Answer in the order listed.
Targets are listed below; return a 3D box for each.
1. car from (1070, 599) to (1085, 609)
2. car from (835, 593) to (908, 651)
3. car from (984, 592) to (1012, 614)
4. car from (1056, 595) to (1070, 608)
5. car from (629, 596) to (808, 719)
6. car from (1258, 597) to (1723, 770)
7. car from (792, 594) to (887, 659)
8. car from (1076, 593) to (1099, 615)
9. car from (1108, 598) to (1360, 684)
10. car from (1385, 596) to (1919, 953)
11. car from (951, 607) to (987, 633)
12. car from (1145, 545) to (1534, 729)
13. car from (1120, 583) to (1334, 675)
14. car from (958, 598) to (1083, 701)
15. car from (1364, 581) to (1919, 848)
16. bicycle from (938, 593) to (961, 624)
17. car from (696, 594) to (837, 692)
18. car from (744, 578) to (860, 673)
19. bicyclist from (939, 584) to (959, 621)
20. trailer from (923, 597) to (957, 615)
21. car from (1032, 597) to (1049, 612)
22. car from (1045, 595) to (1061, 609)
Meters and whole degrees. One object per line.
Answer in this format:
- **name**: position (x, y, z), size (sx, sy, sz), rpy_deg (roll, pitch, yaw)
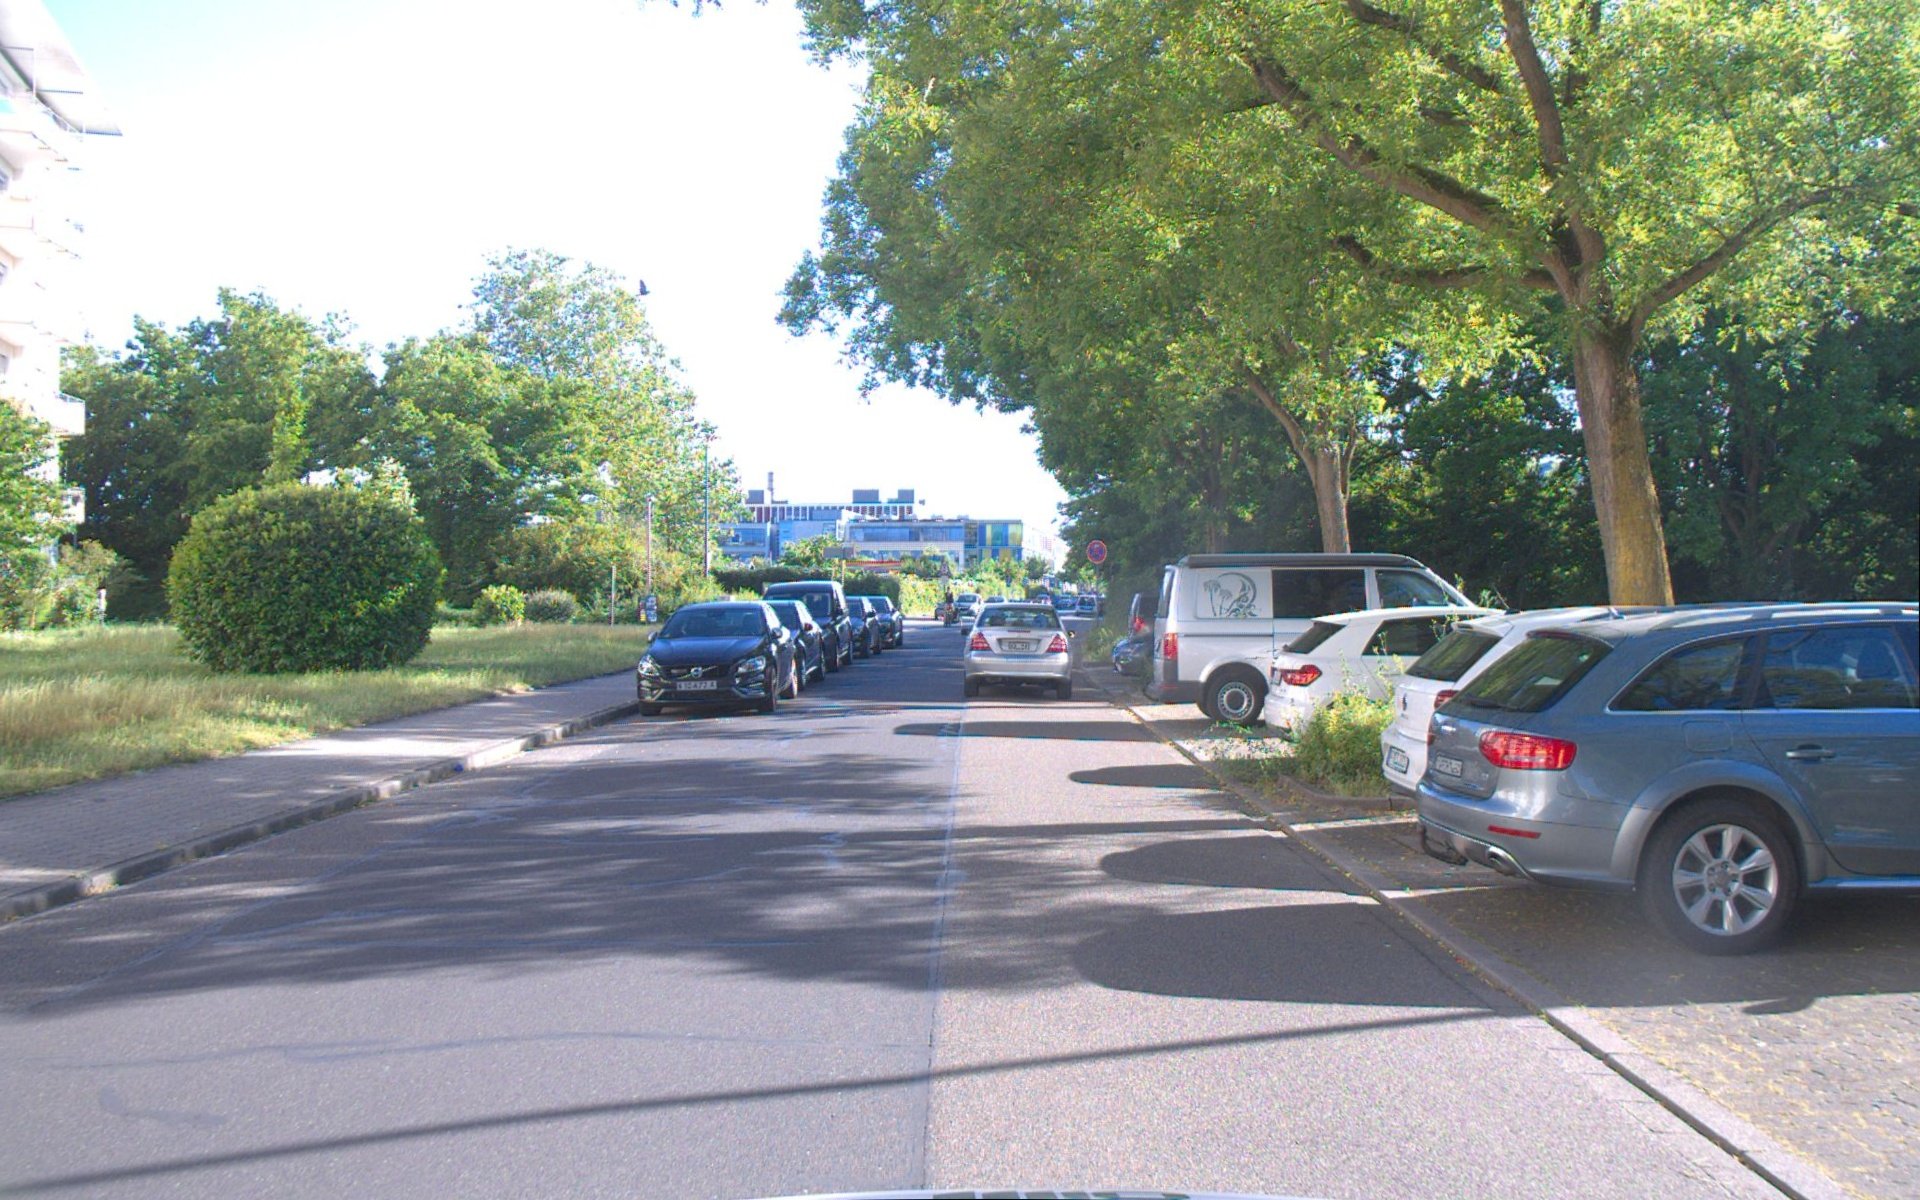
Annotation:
- **car**: position (16.671, 0.572, 235.033), size (1.815, 1.453, 4.137), rpy_deg (1, 0, 7)
- **car**: position (-2.512, 0.601, 47.851), size (1.692, 1.489, 4.683), rpy_deg (-1, 1, 2)
- **car**: position (2.863, 0.241, 123.879), size (1.608, 1.583, 4.421), rpy_deg (-1, 0, 7)
- **car**: position (12.786, 0.203, 205.732), size (1.526, 1.521, 3.761), rpy_deg (-1, 0, 7)
- **car**: position (-3.281, 0.725, 23.350), size (1.802, 1.507, 4.800), rpy_deg (-1, 0, 0)
- **car**: position (4.787, 0.742, 15.362), size (3.825, 1.460, 1.637), rpy_deg (-1, 0, 5)
- **car**: position (-2.975, 0.632, 41.618), size (1.801, 1.479, 4.020), rpy_deg (-2, 0, 4)
- **car**: position (9.545, 0.295, 123.585), size (1.523, 1.565, 3.558), rpy_deg (2, 0, 7)
- **car**: position (4.969, 0.729, 30.447), size (4.359, 1.439, 1.775), rpy_deg (-1, 0, 1)
- **car**: position (4.487, 0.738, 8.028), size (4.388, 1.497, 1.745), rpy_deg (-1, 0, -1)
- **car**: position (0.598, 1.266, 106.479), size (1.608, 1.628, 4.315), rpy_deg (1, 0, 9)
- **car**: position (4.554, 0.433, 20.423), size (4.358, 2.052, 2.022), rpy_deg (-1, 0, 2)
- **car**: position (5.291, 0.559, 33.131), size (4.061, 1.725, 1.776), rpy_deg (-1, 0, 4)
- **car**: position (0.891, 0.730, 26.376), size (1.702, 1.478, 3.999), rpy_deg (1, 0, -2)
- **car**: position (4.724, 0.678, 10.678), size (3.826, 1.460, 1.637), rpy_deg (-2, 0, 2)
- **bicycle**: position (-0.472, 0.388, 75.639), size (0.833, 1.394, 3.222), rpy_deg (0, 0, 3)
- **car**: position (-3.303, 0.691, 29.128), size (1.802, 1.507, 4.575), rpy_deg (-3, 0, 1)
- **car**: position (-3.267, 0.495, 35.085), size (1.802, 1.811, 4.889), rpy_deg (-2, 0, 2)
- **bicyclist**: position (-0.492, 0.106, 75.299), size (0.827, 1.687, 1.065), rpy_deg (0, 0, 3)
- **trailer**: position (-1.136, 0.361, 96.519), size (1.511, 0.970, 2.649), rpy_deg (1, 0, 10)
- **car**: position (8.349, 0.475, 170.756), size (1.526, 1.521, 3.573), rpy_deg (-1, 0, 7)
- **car**: position (10.612, 0.265, 188.813), size (1.526, 1.521, 3.573), rpy_deg (2, 0, 7)
